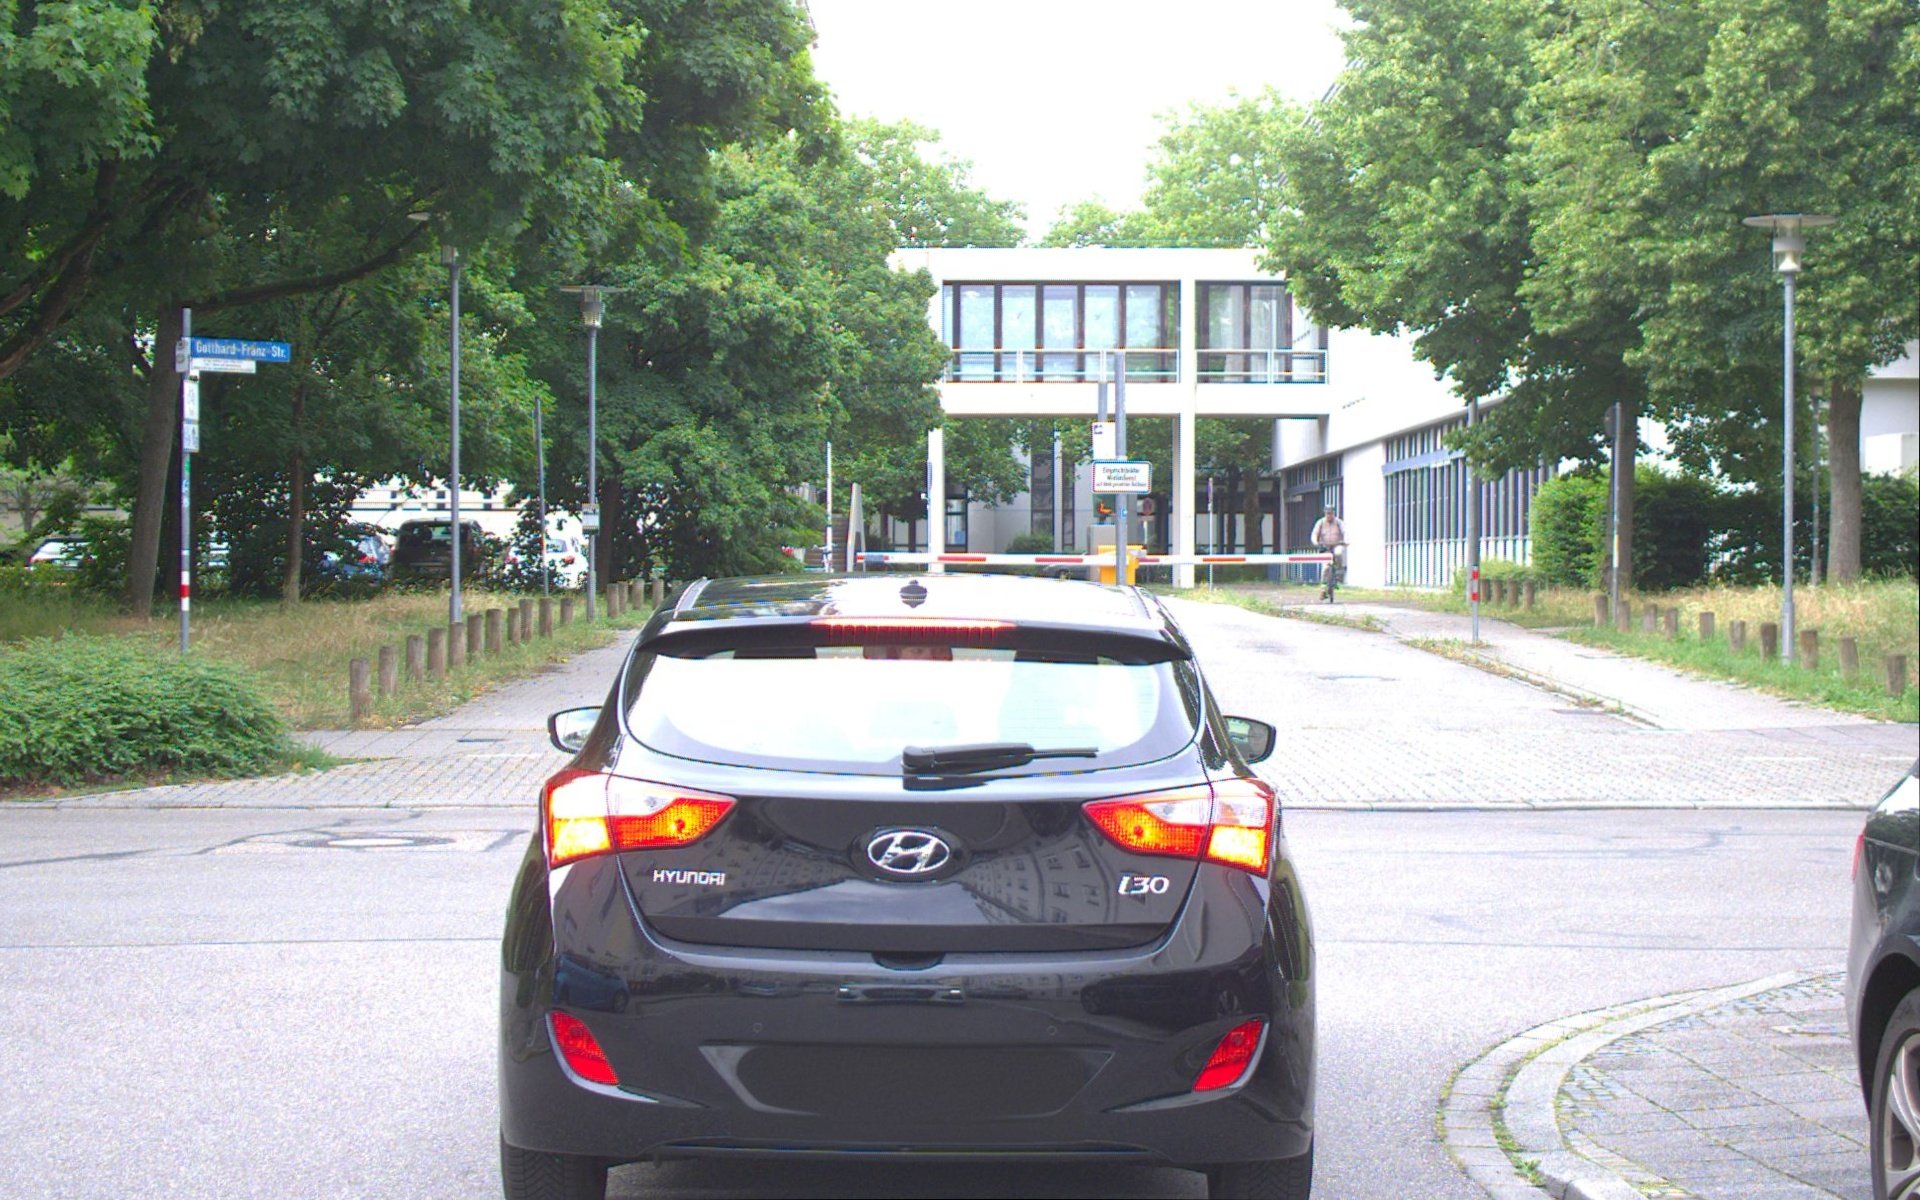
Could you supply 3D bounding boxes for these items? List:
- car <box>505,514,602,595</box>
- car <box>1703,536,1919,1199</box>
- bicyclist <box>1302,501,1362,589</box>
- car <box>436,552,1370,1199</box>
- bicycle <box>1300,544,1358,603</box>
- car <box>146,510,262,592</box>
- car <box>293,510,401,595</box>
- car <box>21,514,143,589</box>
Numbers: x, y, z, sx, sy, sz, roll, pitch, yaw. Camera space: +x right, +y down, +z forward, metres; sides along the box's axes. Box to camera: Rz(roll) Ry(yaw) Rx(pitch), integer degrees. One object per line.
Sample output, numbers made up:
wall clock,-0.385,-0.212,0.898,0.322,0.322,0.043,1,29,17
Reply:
car,-9.039,-0.989,76.692,1.993,1.756,4.001,0,0,-5
car,2.607,0.631,4.909,1.860,1.457,4.726,-1,1,-3
bicyclist,6.994,-1.046,64.678,1.017,1.639,0.923,0,1,0
car,-0.207,0.622,8.745,1.846,1.457,3.828,1,1,-3
bicycle,6.926,-0.505,64.622,0.866,1.071,2.142,0,1,0
car,-16.737,-1.062,76.282,1.993,1.722,4.000,0,-1,-5
car,-13.634,-1.034,76.618,1.993,1.788,4.000,0,-1,-5
car,-19.459,-1.087,76.343,1.993,1.612,4.001,0,1,-5
